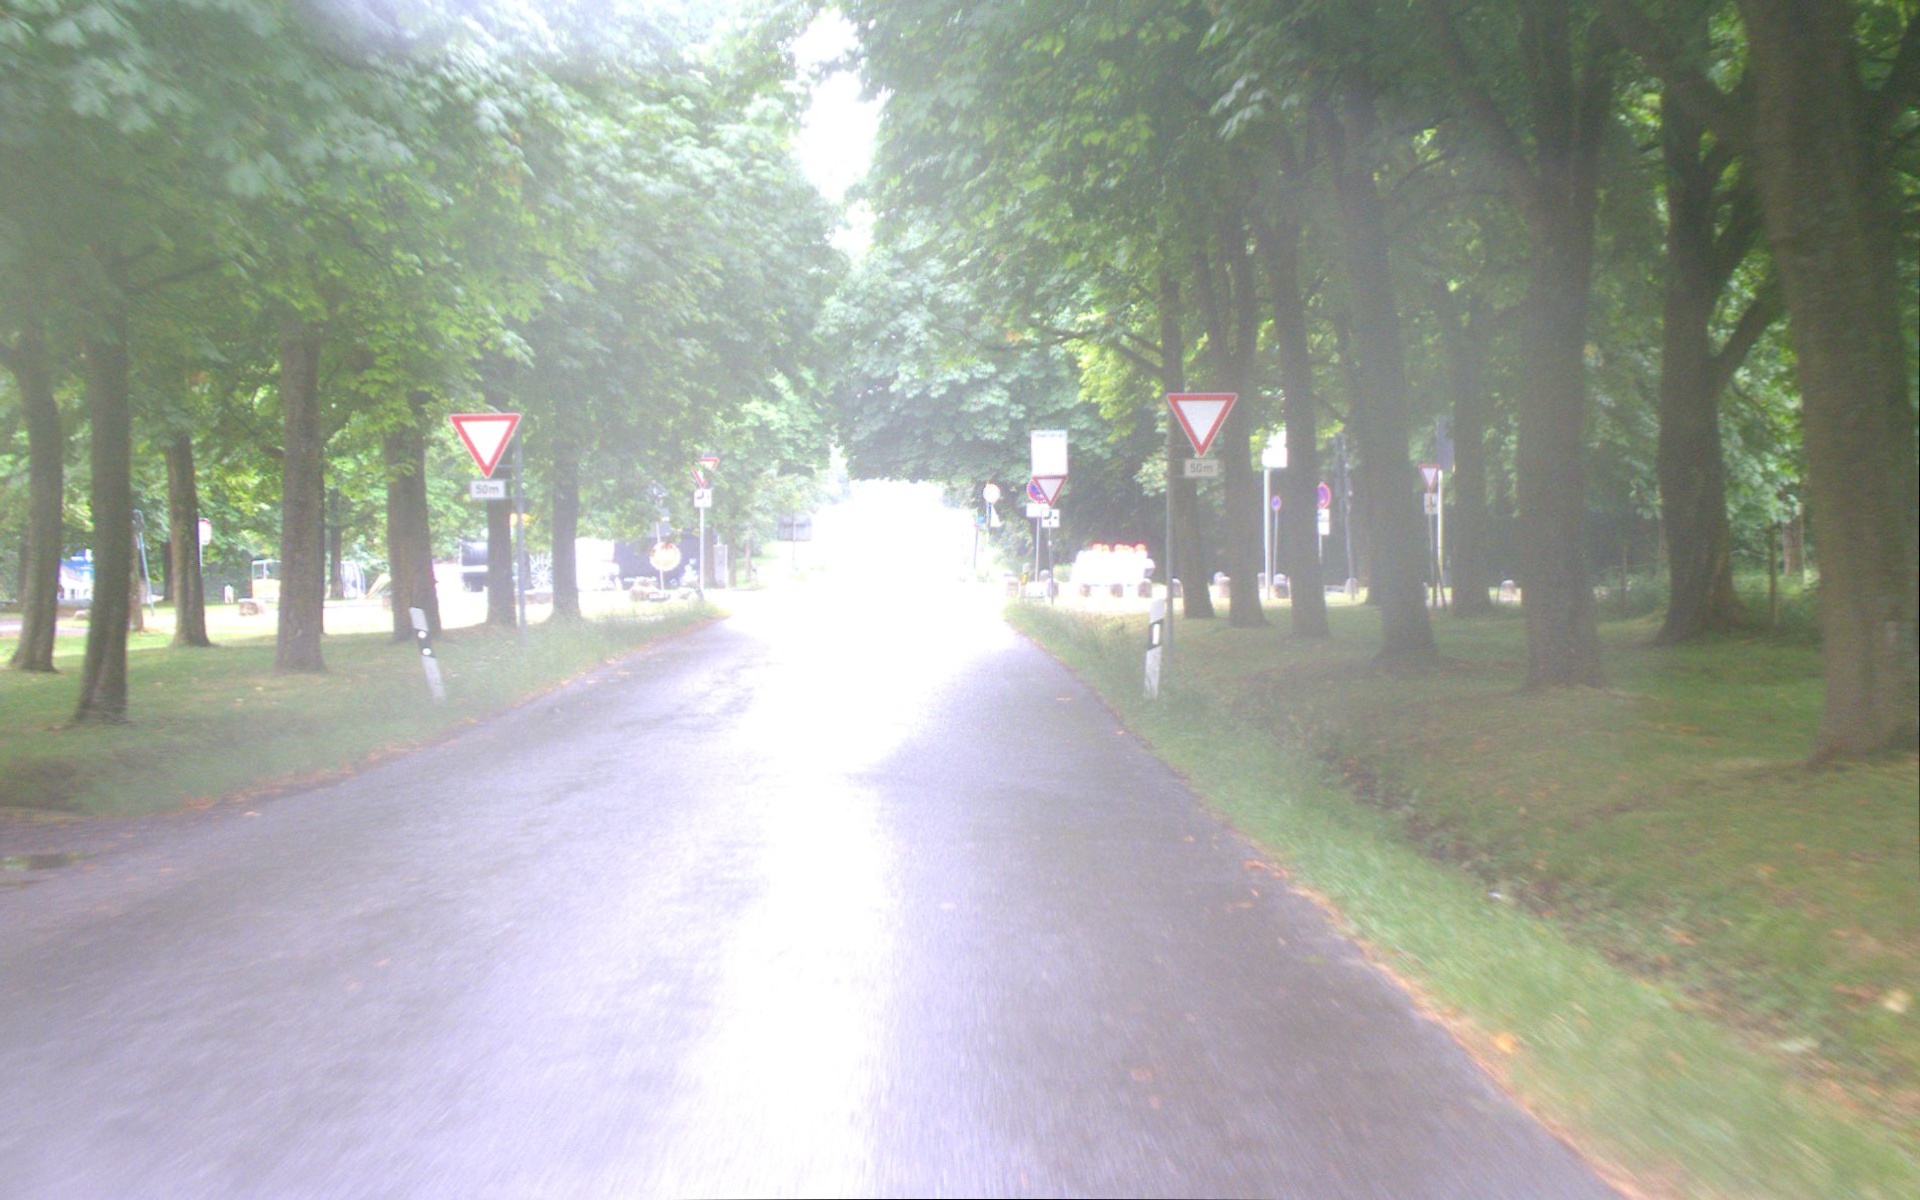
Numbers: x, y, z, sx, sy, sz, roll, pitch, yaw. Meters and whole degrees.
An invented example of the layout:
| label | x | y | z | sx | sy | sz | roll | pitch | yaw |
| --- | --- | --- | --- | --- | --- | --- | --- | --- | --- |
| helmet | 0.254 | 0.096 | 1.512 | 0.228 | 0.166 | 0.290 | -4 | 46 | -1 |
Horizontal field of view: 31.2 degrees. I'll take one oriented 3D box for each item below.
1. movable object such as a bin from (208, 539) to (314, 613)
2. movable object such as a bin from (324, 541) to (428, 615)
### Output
| label | x | y | z | sx | sy | sz | roll | pitch | yaw |
| --- | --- | --- | --- | --- | --- | --- | --- | --- | --- |
| movable object such as a bin | -32.154 | -1.112 | 158.163 | 4.653 | 3.283 | 3.914 | -1 | 0 | -12 |
| movable object such as a bin | -27.162 | -1.020 | 159.837 | 4.580 | 3.283 | 3.667 | -1 | 0 | -12 |
